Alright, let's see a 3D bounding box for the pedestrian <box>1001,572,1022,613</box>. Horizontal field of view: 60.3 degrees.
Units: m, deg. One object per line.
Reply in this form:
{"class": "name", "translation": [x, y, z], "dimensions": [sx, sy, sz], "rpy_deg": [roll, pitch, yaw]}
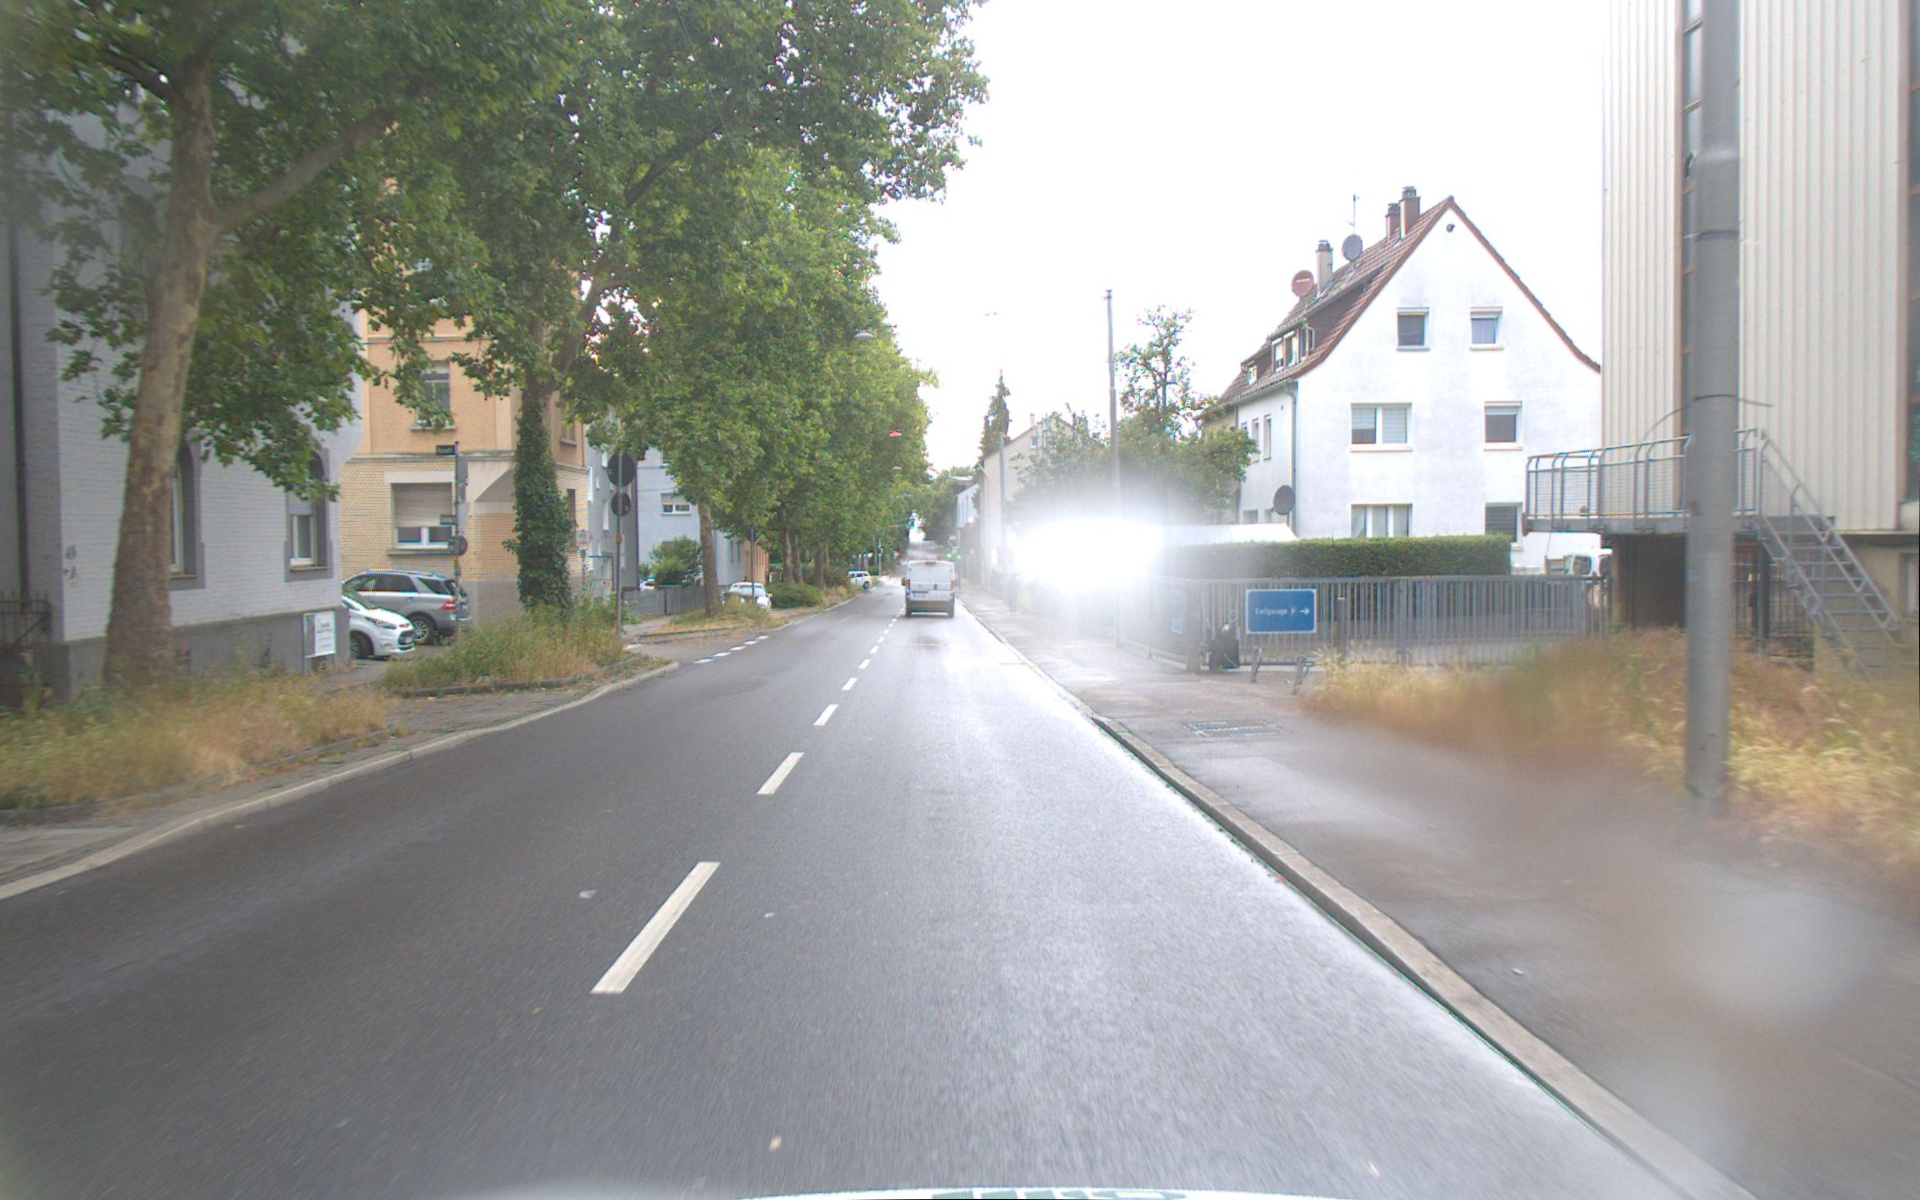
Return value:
{"class": "pedestrian", "translation": [2.167, -0.312, 69.503], "dimensions": [0.799, 1.728, 0.729], "rpy_deg": [0, 0, -4]}

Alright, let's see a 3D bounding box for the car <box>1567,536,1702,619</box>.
{"class": "car", "translation": [17.485, -0.573, 43.090], "dimensions": [1.801, 2.049, 3.999], "rpy_deg": [0, 0, -1]}

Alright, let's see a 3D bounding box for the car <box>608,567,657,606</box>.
{"class": "car", "translation": [-16.955, -0.720, 85.785], "dimensions": [1.837, 1.927, 4.000], "rpy_deg": [0, 2, -1]}

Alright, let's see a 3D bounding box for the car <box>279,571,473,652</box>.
{"class": "car", "translation": [-14.433, 0.271, 41.071], "dimensions": [4.112, 1.925, 1.999], "rpy_deg": [0, 0, -2]}

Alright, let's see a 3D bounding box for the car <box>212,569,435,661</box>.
{"class": "car", "translation": [-13.862, 0.302, 36.205], "dimensions": [4.112, 1.925, 1.999], "rpy_deg": [0, 0, -2]}

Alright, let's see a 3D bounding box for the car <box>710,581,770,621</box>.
{"class": "car", "translation": [-8.451, 0.029, 63.908], "dimensions": [1.954, 1.477, 4.208], "rpy_deg": [0, 0, -3]}

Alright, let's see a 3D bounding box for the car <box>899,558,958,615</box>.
{"class": "car", "translation": [-1.355, -0.598, 68.642], "dimensions": [2.300, 2.197, 4.776], "rpy_deg": [-1, 2, -3]}

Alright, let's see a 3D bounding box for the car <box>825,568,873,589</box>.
{"class": "car", "translation": [-9.412, -1.772, 140.424], "dimensions": [1.958, 1.739, 4.248], "rpy_deg": [0, 0, 33]}
